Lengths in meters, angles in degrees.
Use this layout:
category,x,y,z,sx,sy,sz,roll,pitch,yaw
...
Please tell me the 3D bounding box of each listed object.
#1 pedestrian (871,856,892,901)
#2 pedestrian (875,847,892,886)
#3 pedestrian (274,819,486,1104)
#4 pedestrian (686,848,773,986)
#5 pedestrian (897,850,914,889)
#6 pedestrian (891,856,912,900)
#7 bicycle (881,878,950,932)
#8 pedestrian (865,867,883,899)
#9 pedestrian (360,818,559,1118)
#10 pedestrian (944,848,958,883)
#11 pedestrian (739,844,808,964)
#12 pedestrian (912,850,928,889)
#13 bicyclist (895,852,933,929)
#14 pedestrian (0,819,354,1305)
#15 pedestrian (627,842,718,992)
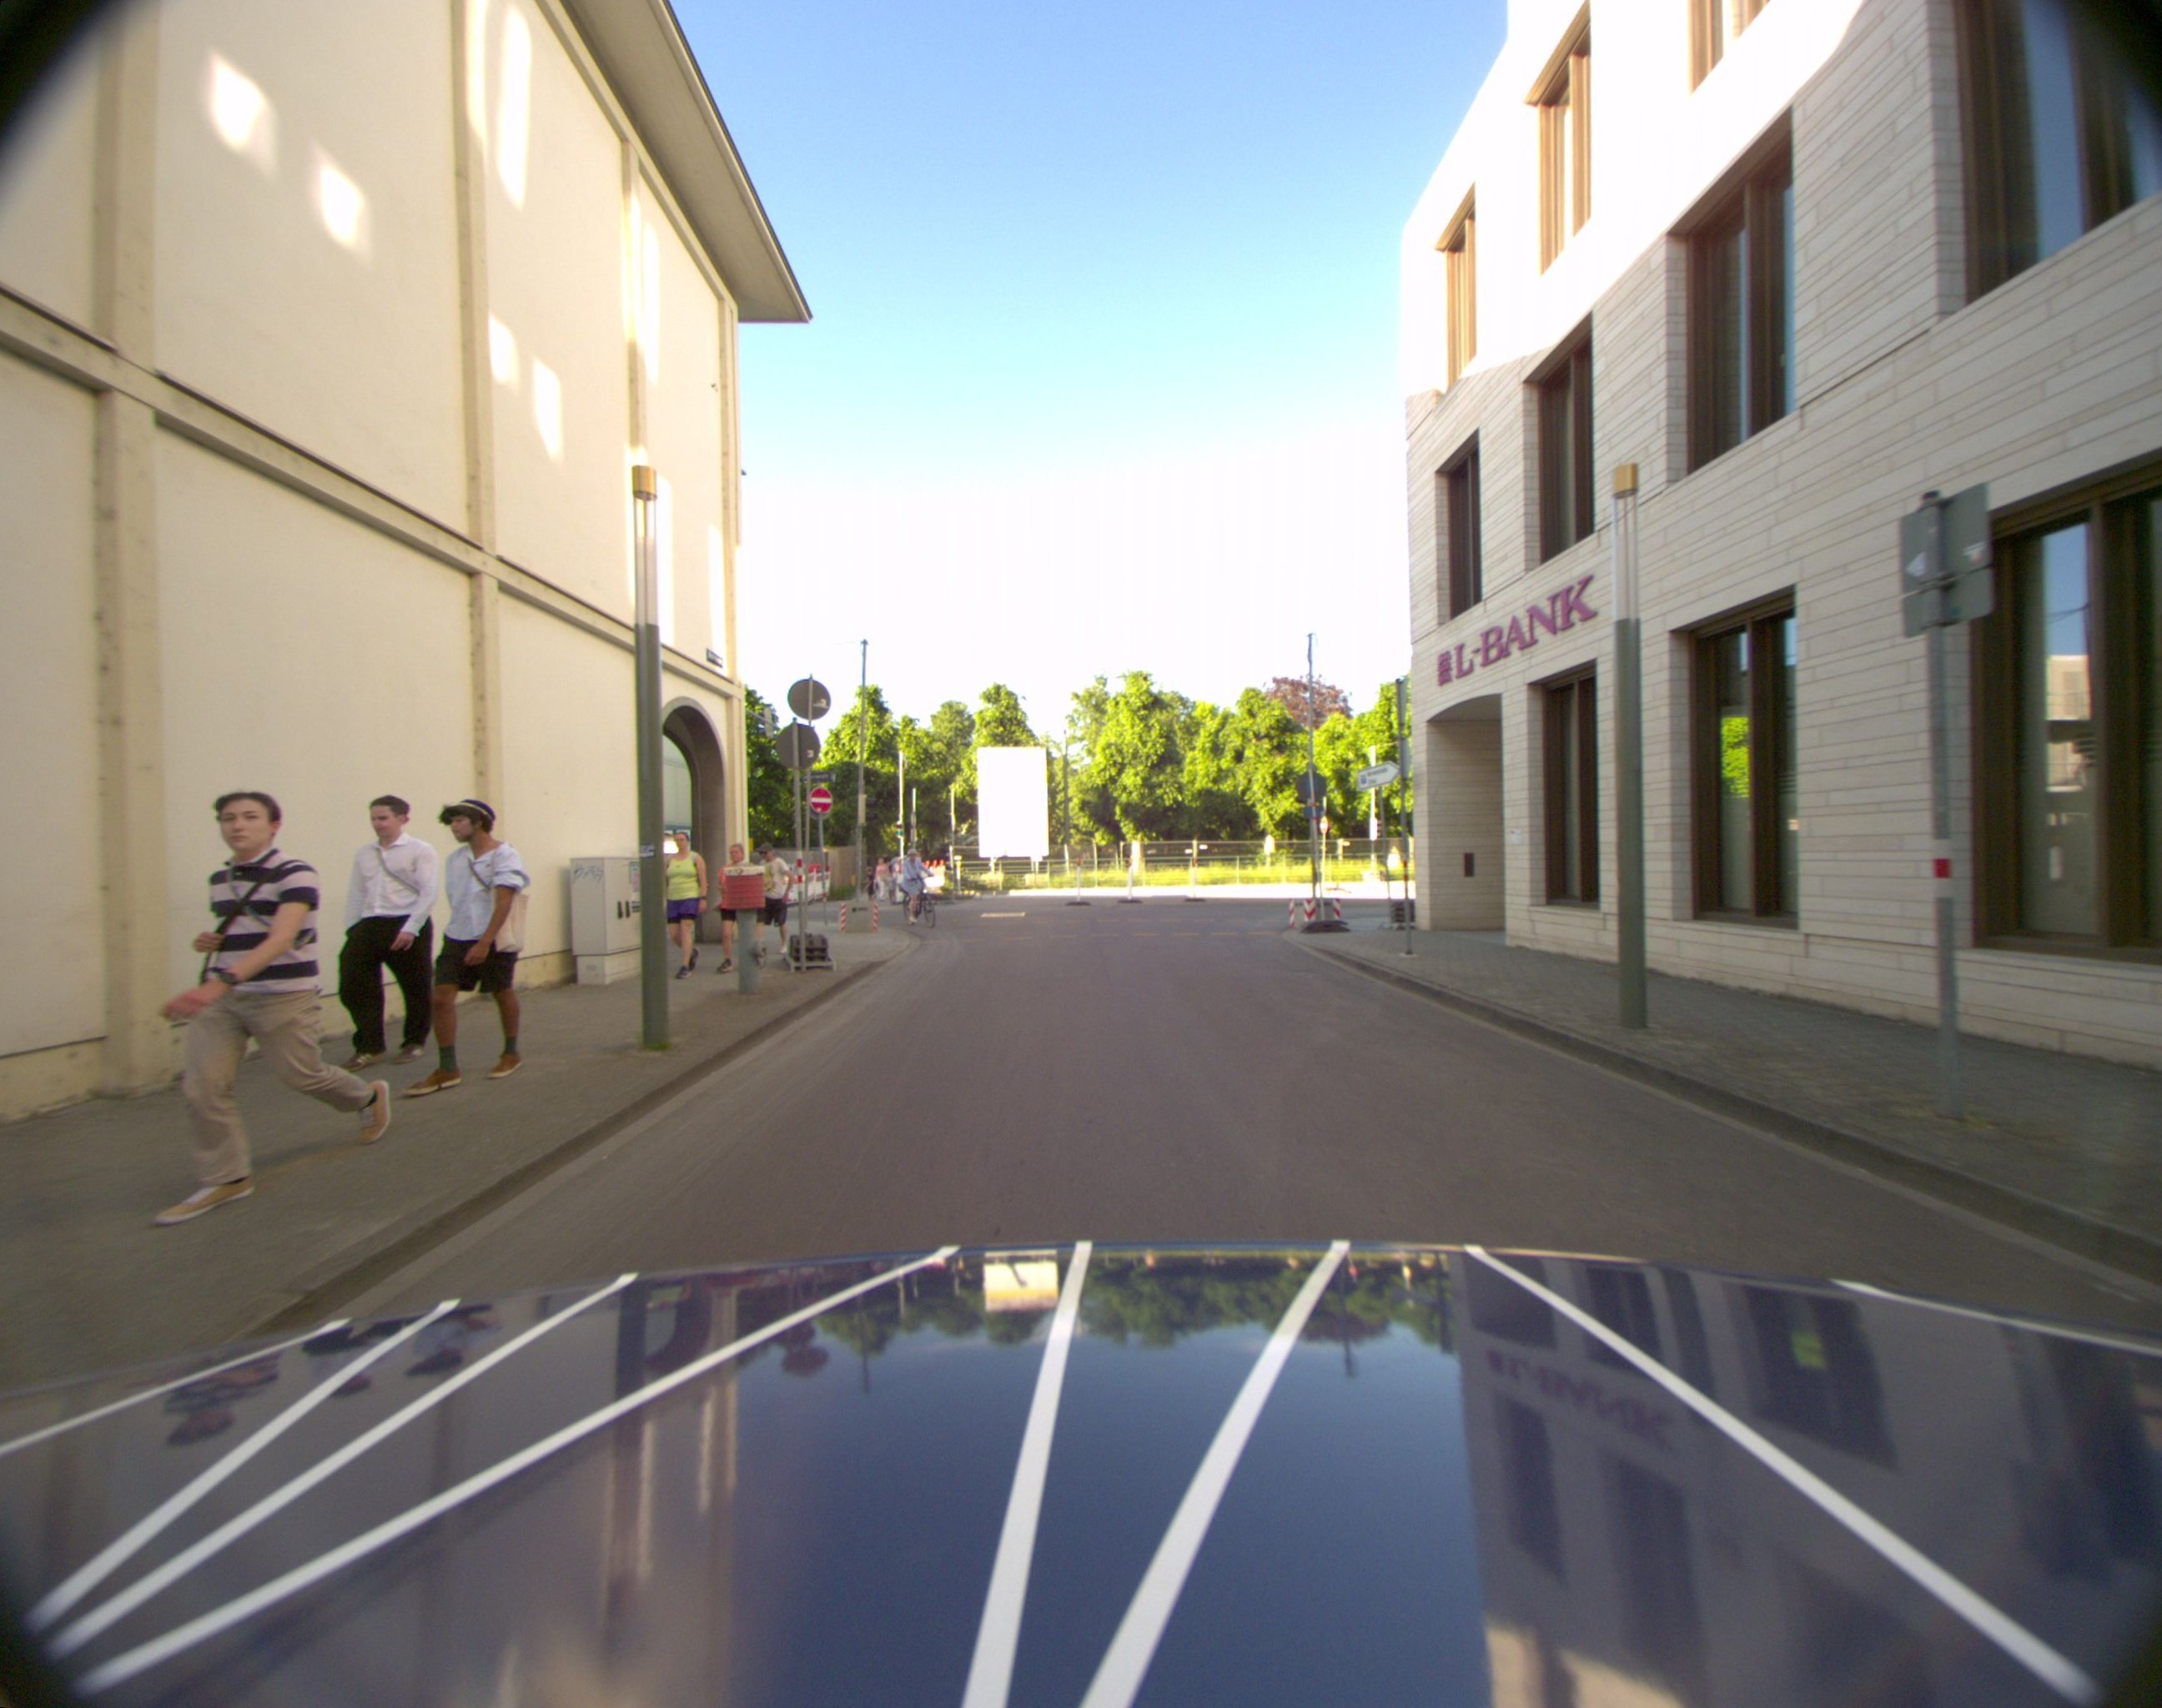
category,x,y,z,sx,sy,sz,roll,pitch,yaw
pedestrian,-7.526,0.916,28.695,0.626,1.632,0.623,-2,1,-7
pedestrian,-9.204,0.575,35.452,0.626,1.773,0.623,-2,1,-7
pedestrian,-4.726,0.684,5.174,0.685,1.768,0.693,4,1,0
pedestrian,-4.370,0.761,9.490,0.685,1.627,0.693,3,1,0
pedestrian,-8.205,0.717,35.598,0.626,1.773,0.623,-2,1,-7
pedestrian,-6.828,0.911,28.941,0.626,1.604,0.623,-2,1,-7
bicycle,-3.763,1.112,17.172,0.597,1.077,2.304,-3,1,-36
pedestrian,-7.980,1.114,29.290,0.535,1.170,0.623,-2,1,-7
pedestrian,-3.925,0.677,4.850,0.685,1.768,0.693,1,1,0
pedestrian,-6.726,0.570,39.398,0.626,1.773,0.623,-2,1,-7
pedestrian,-4.538,0.732,11.242,0.685,1.705,0.694,1,-1,0
pedestrian,-7.437,0.698,35.123,0.626,1.773,0.623,-2,1,-7
bicyclist,-3.769,0.817,17.158,0.587,1.679,0.537,-3,2,-37
pedestrian,-3.771,0.777,3.175,0.685,1.768,0.693,4,1,0
pedestrian,-4.802,0.712,8.976,0.685,1.705,0.693,0,1,0
